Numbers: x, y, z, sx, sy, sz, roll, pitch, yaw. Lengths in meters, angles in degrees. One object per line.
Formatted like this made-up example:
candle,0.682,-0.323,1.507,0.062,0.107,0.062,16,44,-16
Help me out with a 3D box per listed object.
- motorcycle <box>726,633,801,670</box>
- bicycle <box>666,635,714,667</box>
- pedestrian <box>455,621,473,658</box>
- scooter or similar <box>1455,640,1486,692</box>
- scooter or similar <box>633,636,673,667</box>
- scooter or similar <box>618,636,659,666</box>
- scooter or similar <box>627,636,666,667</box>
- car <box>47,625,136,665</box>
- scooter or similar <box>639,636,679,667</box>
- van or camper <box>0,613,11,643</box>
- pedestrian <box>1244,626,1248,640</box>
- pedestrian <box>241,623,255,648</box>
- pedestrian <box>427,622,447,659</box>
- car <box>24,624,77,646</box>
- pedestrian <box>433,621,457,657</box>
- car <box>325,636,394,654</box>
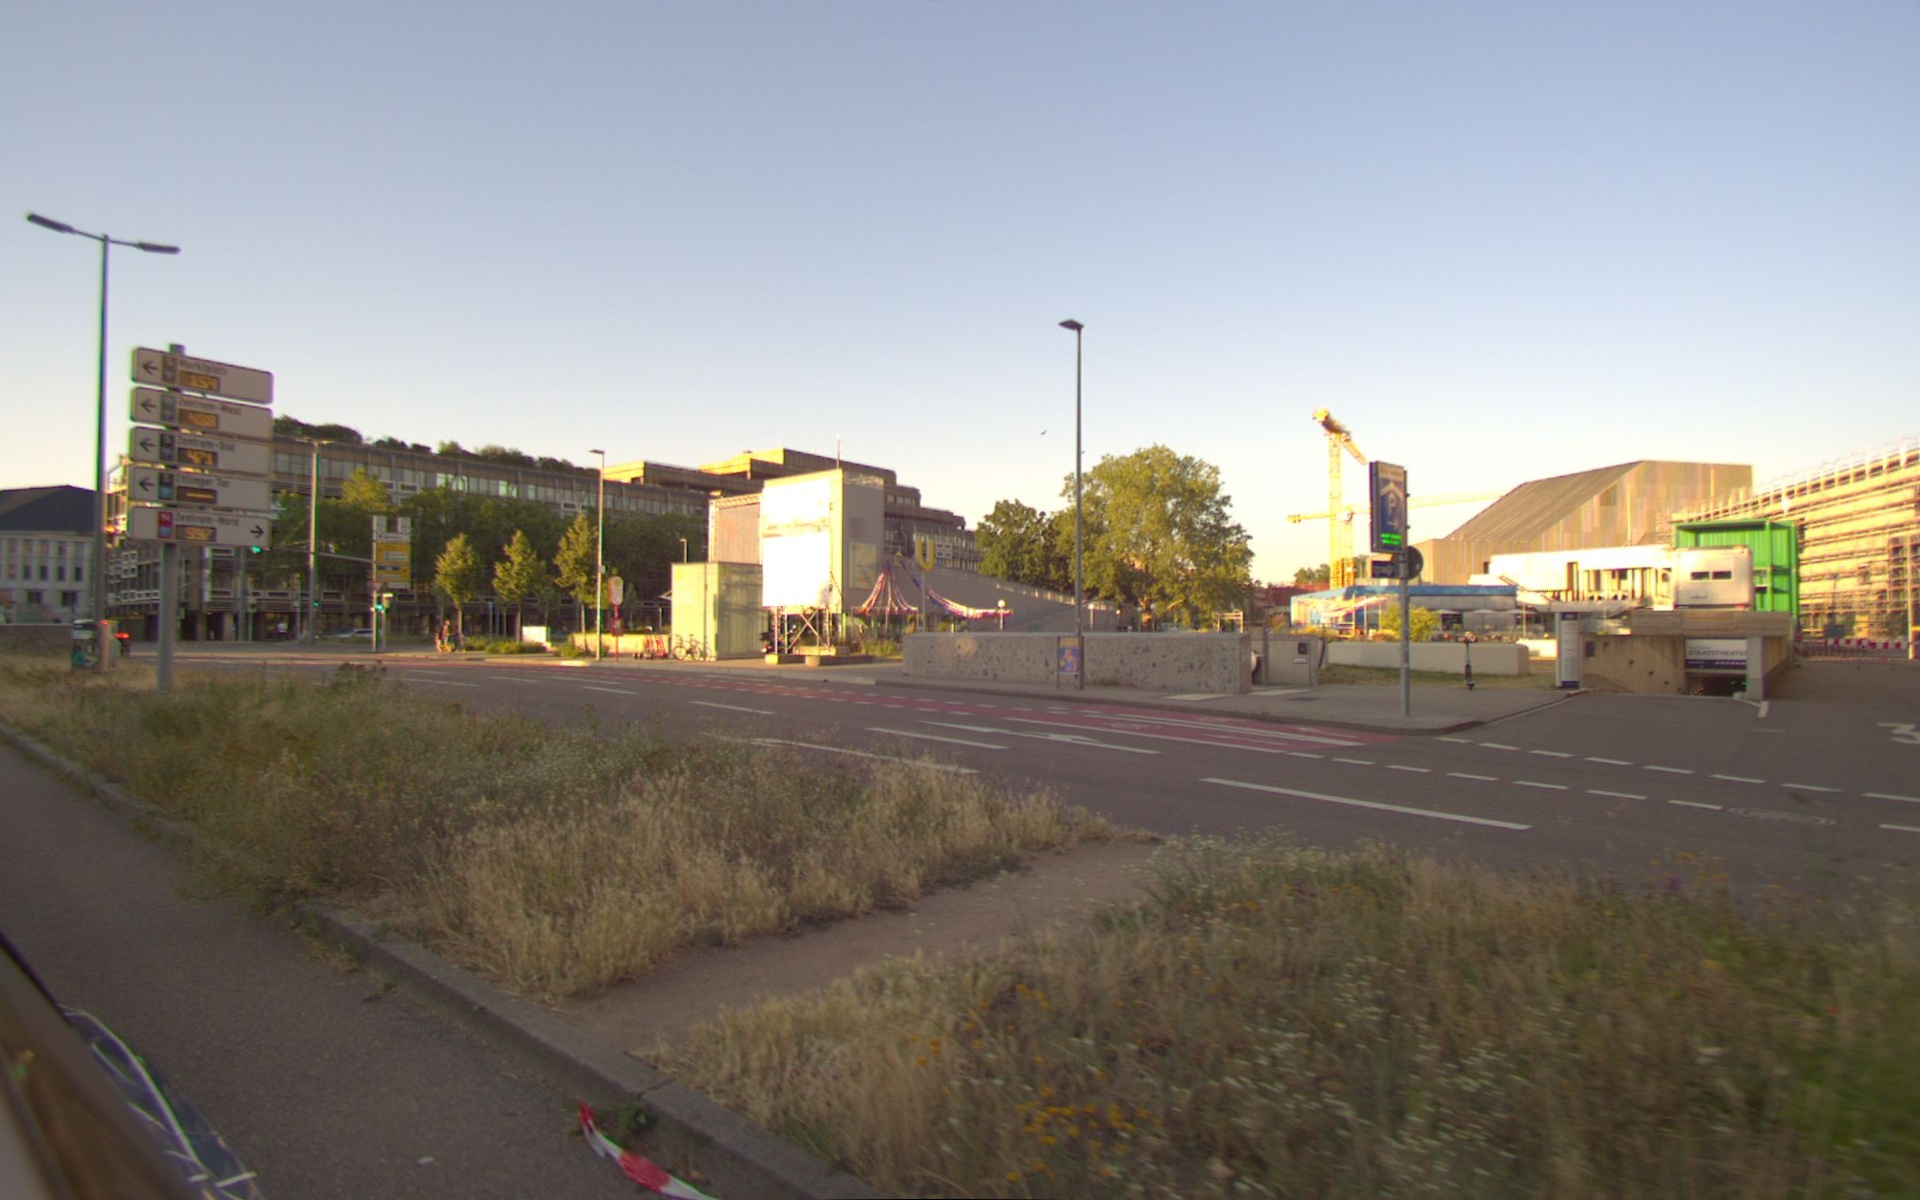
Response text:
motorcycle,-7.951,2.071,41.128,0.839,1.393,3.201,-1,-1,38
bicycle,-11.538,2.171,43.178,2.507,1.334,0.611,-1,-3,39
pedestrian,-26.137,2.093,53.367,0.647,1.948,0.652,-3,-4,42
scooter or similar,12.734,1.628,25.264,0.542,1.233,1.555,0,-2,21
scooter or similar,-13.519,2.254,44.613,0.422,1.315,1.815,-1,-2,34
scooter or similar,-14.333,2.269,45.180,0.499,1.315,1.842,-1,-2,34
scooter or similar,-13.905,2.268,44.904,0.416,1.315,1.772,-1,-2,34
car,-33.764,1.724,39.305,4.533,1.477,1.867,-2,-3,40
scooter or similar,-13.162,2.240,44.353,0.422,1.315,1.820,-1,-2,34
van or camper,-88.289,2.560,91.799,6.153,2.687,2.205,-3,-3,37
pedestrian,29.531,3.425,104.474,0.380,1.418,0.572,-1,-2,20
pedestrian,-55.031,2.753,78.243,0.680,1.946,0.636,-1,-3,38
pedestrian,-27.564,2.135,53.333,0.774,1.948,0.625,-1,-3,38
car,-67.277,2.592,74.862,3.982,1.538,1.624,0,-3,29
pedestrian,-26.753,2.008,52.618,0.775,1.851,0.862,-1,-3,42
car,-55.230,4.101,93.139,1.998,1.597,5.095,-2,-3,40
